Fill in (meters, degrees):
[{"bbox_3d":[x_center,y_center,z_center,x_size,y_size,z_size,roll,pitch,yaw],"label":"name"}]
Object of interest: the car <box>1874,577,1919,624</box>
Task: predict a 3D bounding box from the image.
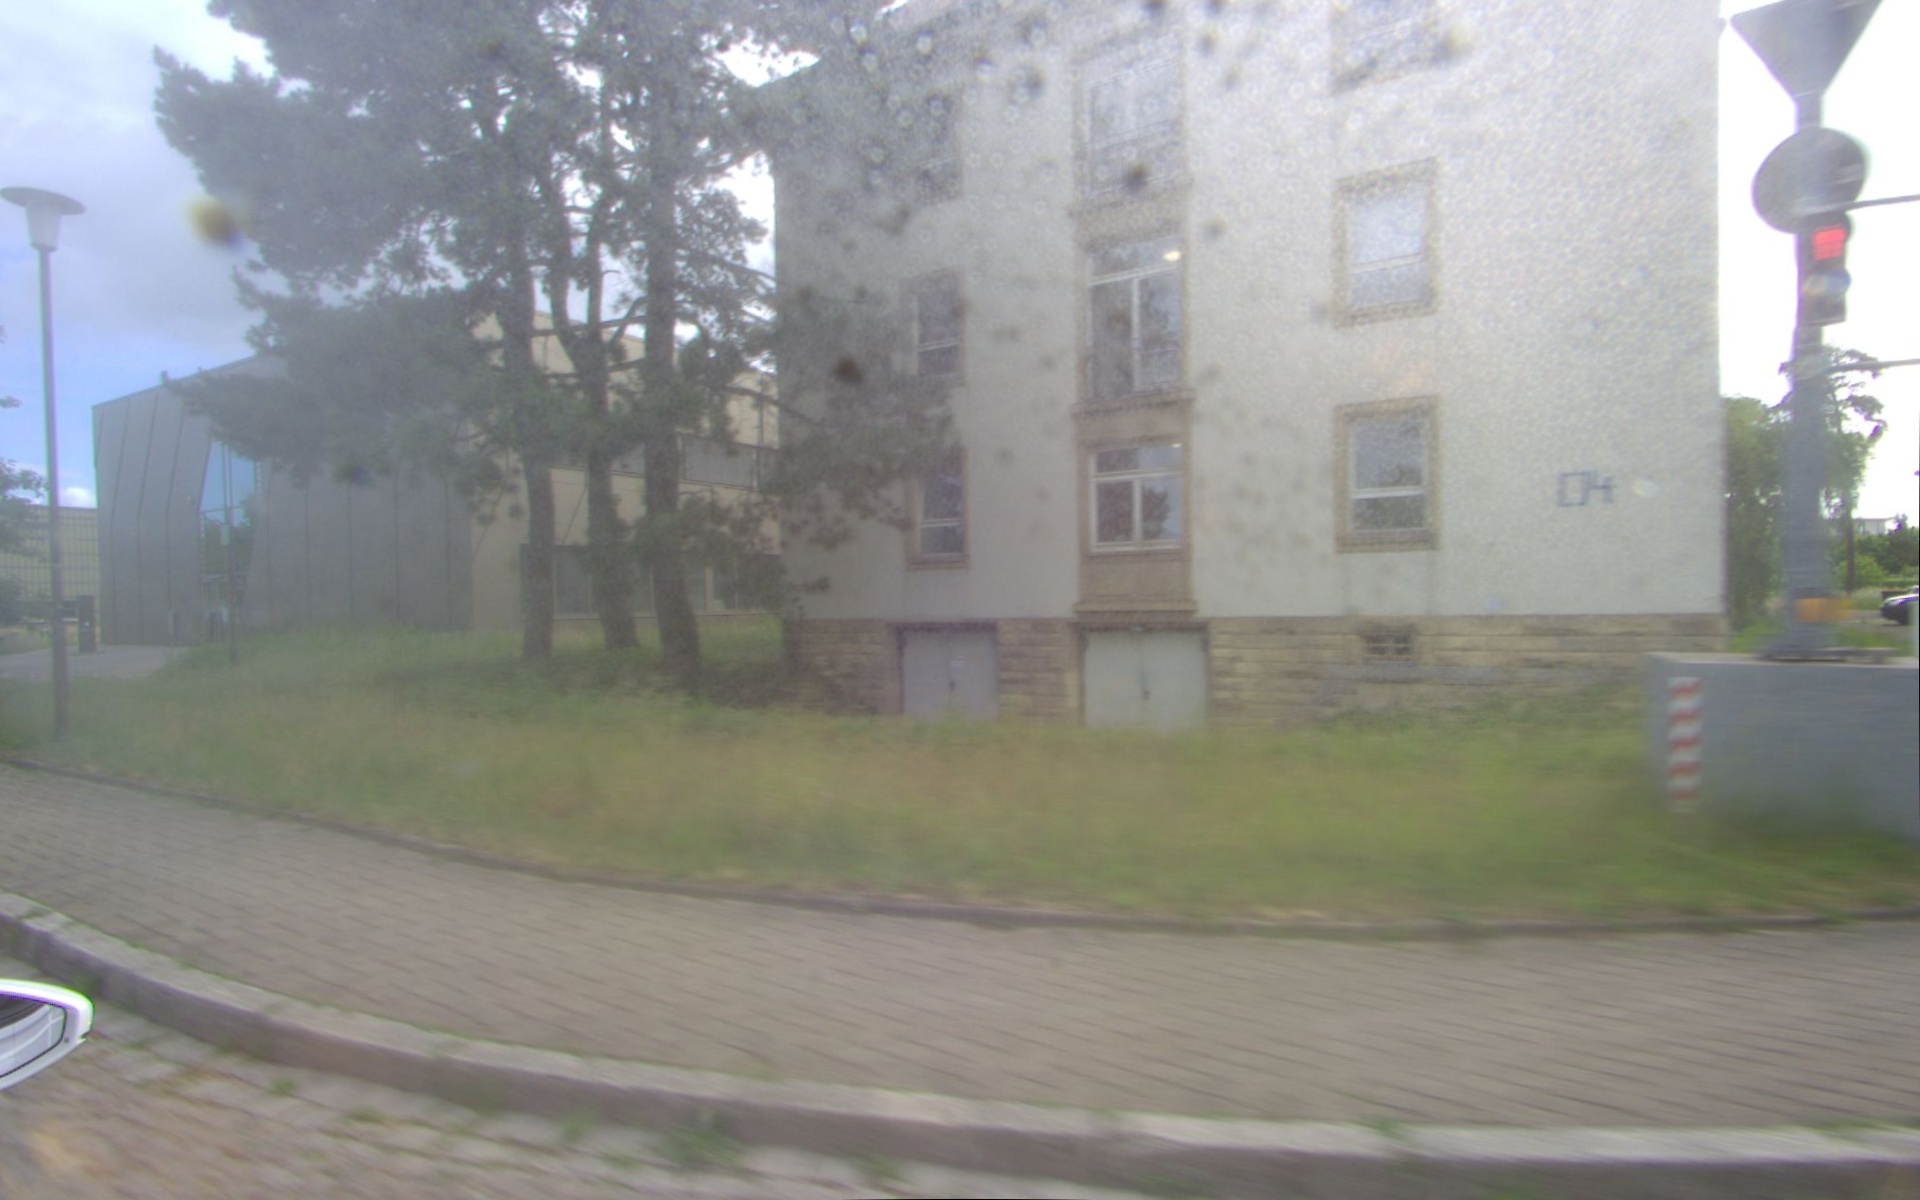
[{"bbox_3d":[38.335,0.000,38.338,4.629,1.797,1.989,-1,0,33],"label":"car"}]
